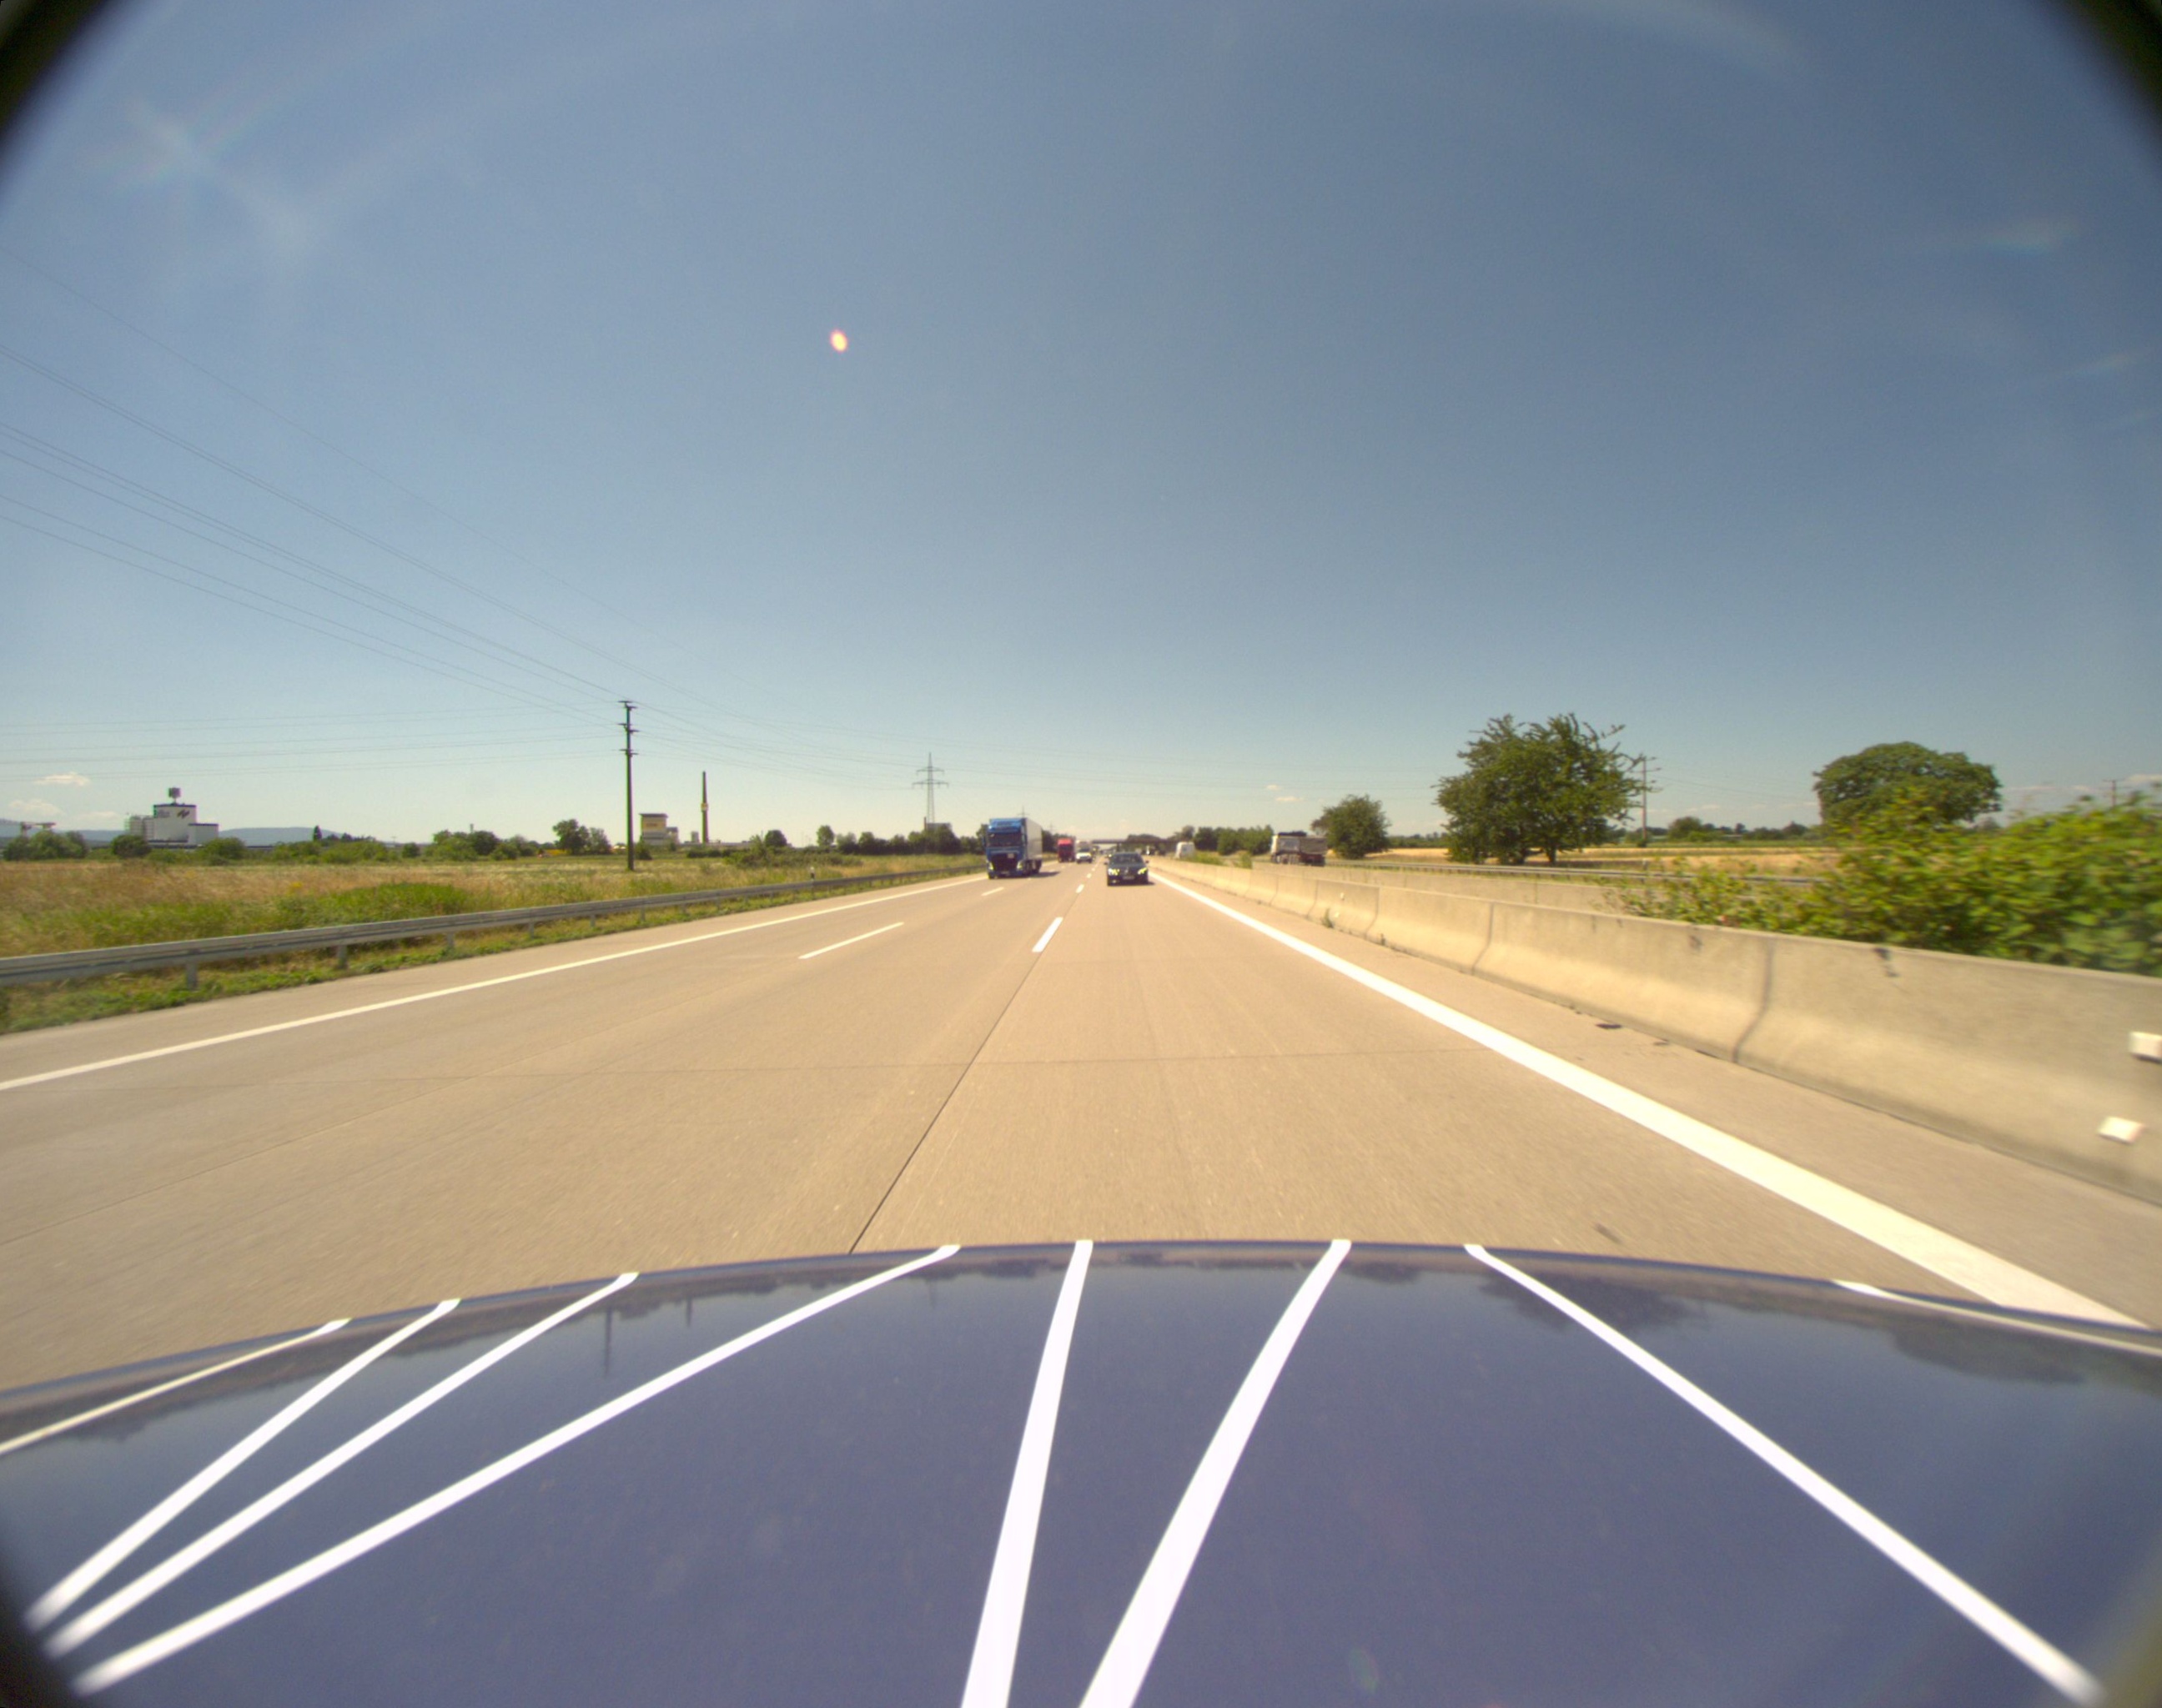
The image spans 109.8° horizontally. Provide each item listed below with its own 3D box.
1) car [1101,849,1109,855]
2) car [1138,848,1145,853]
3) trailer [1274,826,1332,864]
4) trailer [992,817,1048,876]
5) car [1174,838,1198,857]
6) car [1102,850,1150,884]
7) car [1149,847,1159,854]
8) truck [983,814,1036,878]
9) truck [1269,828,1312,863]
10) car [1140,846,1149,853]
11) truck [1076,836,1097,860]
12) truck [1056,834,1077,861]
[{"bbox_3d":[6.056,-0.583,191.378,1.683,1.444,3.564,-3,0,3],"label":"car"},{"bbox_3d":[19.002,-1.100,240.077,1.877,1.643,5.108,-3,0,2],"label":"car"},{"bbox_3d":[20.737,-0.831,71.646,2.835,3.285,9.463,-3,0,2],"label":"trailer"},{"bbox_3d":[-4.578,-0.595,59.734,2.715,4.020,12.902,-3,0,2],"label":"trailer"},{"bbox_3d":[12.922,-0.821,93.692,2.216,2.176,6.325,-3,0,2],"label":"car"},{"bbox_3d":[2.023,0.553,35.801,1.998,1.462,6.347,0,0,1],"label":"car"},{"bbox_3d":[16.488,-0.837,171.642,1.998,1.440,4.682,-3,0,1],"label":"car"},{"bbox_3d":[-4.833,-0.535,52.239,2.757,4.020,5.466,-3,1,2],"label":"truck"},{"bbox_3d":[20.859,-0.865,76.024,2.813,3.285,5.614,-3,1,2],"label":"truck"},{"bbox_3d":[16.817,-1.141,201.220,1.998,1.815,5.825,-3,0,3],"label":"car"},{"bbox_3d":[0.820,-0.860,109.461,2.784,3.328,7.813,-3,0,1],"label":"truck"},{"bbox_3d":[-2.511,-1.151,133.083,2.855,4.298,10.887,-3,0,2],"label":"truck"}]
